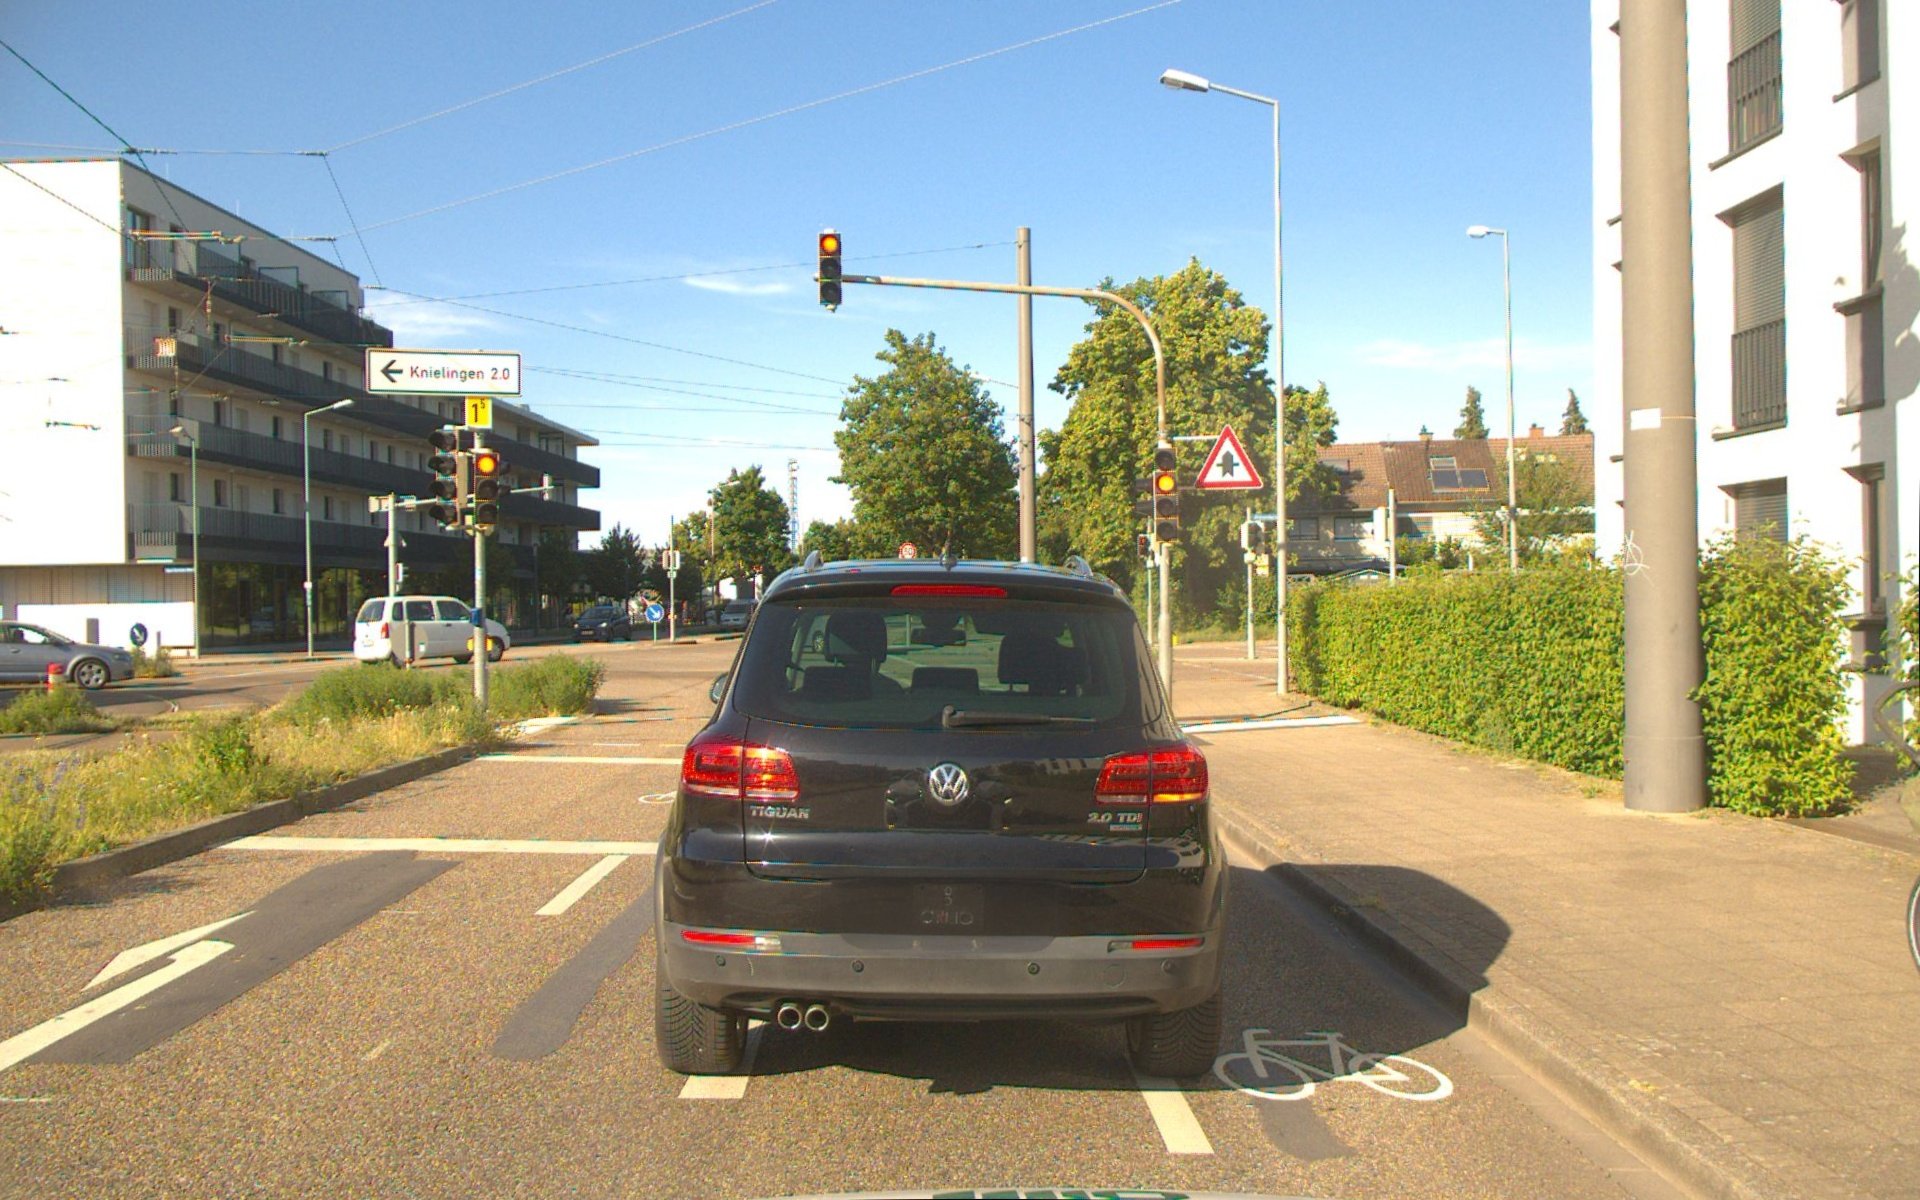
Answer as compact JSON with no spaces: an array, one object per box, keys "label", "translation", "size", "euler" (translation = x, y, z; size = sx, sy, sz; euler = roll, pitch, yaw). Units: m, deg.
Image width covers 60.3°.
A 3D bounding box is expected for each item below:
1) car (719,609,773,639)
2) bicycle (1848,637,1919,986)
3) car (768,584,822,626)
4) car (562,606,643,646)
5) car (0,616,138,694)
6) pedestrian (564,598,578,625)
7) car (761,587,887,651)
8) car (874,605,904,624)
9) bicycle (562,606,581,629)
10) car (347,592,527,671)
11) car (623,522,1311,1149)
[{"label":"car","translation":[-12.025,1.328,93.218],"size":[1.951,1.601,4.342],"euler":[1,0,7]},{"label":"bicycle","translation":[3.936,0.724,4.581],"size":[0.911,1.194,3.119],"euler":[-1,0,-8]},{"label":"car","translation":[-6.935,0.206,69.884],"size":[1.953,1.713,3.999],"euler":[1,0,-2]},{"label":"car","translation":[-15.336,1.101,71.202],"size":[1.951,1.601,4.343],"euler":[1,0,9]},{"label":"car","translation":[-19.408,1.137,34.339],"size":[4.056,1.511,1.850],"euler":[-1,0,-32]},{"label":"pedestrian","translation":[-22.929,0.669,97.475],"size":[0.629,1.535,0.596],"euler":[1,-1,-1]},{"label":"car","translation":[-4.182,0.564,50.403],"size":[1.980,1.869,3.945],"euler":[1,0,-38]},{"label":"car","translation":[-6.169,1.248,144.514],"size":[1.951,1.601,4.342],"euler":[1,0,7]},{"label":"bicycle","translation":[-22.935,1.032,97.599],"size":[0.617,1.355,1.912],"euler":[1,0,0]},{"label":"car","translation":[-12.337,0.702,39.120],"size":[3.655,1.750,1.841],"euler":[-1,0,-42]},{"label":"car","translation":[-0.004,0.645,6.463],"size":[1.831,1.666,3.999],"euler":[1,0,-1]}]
